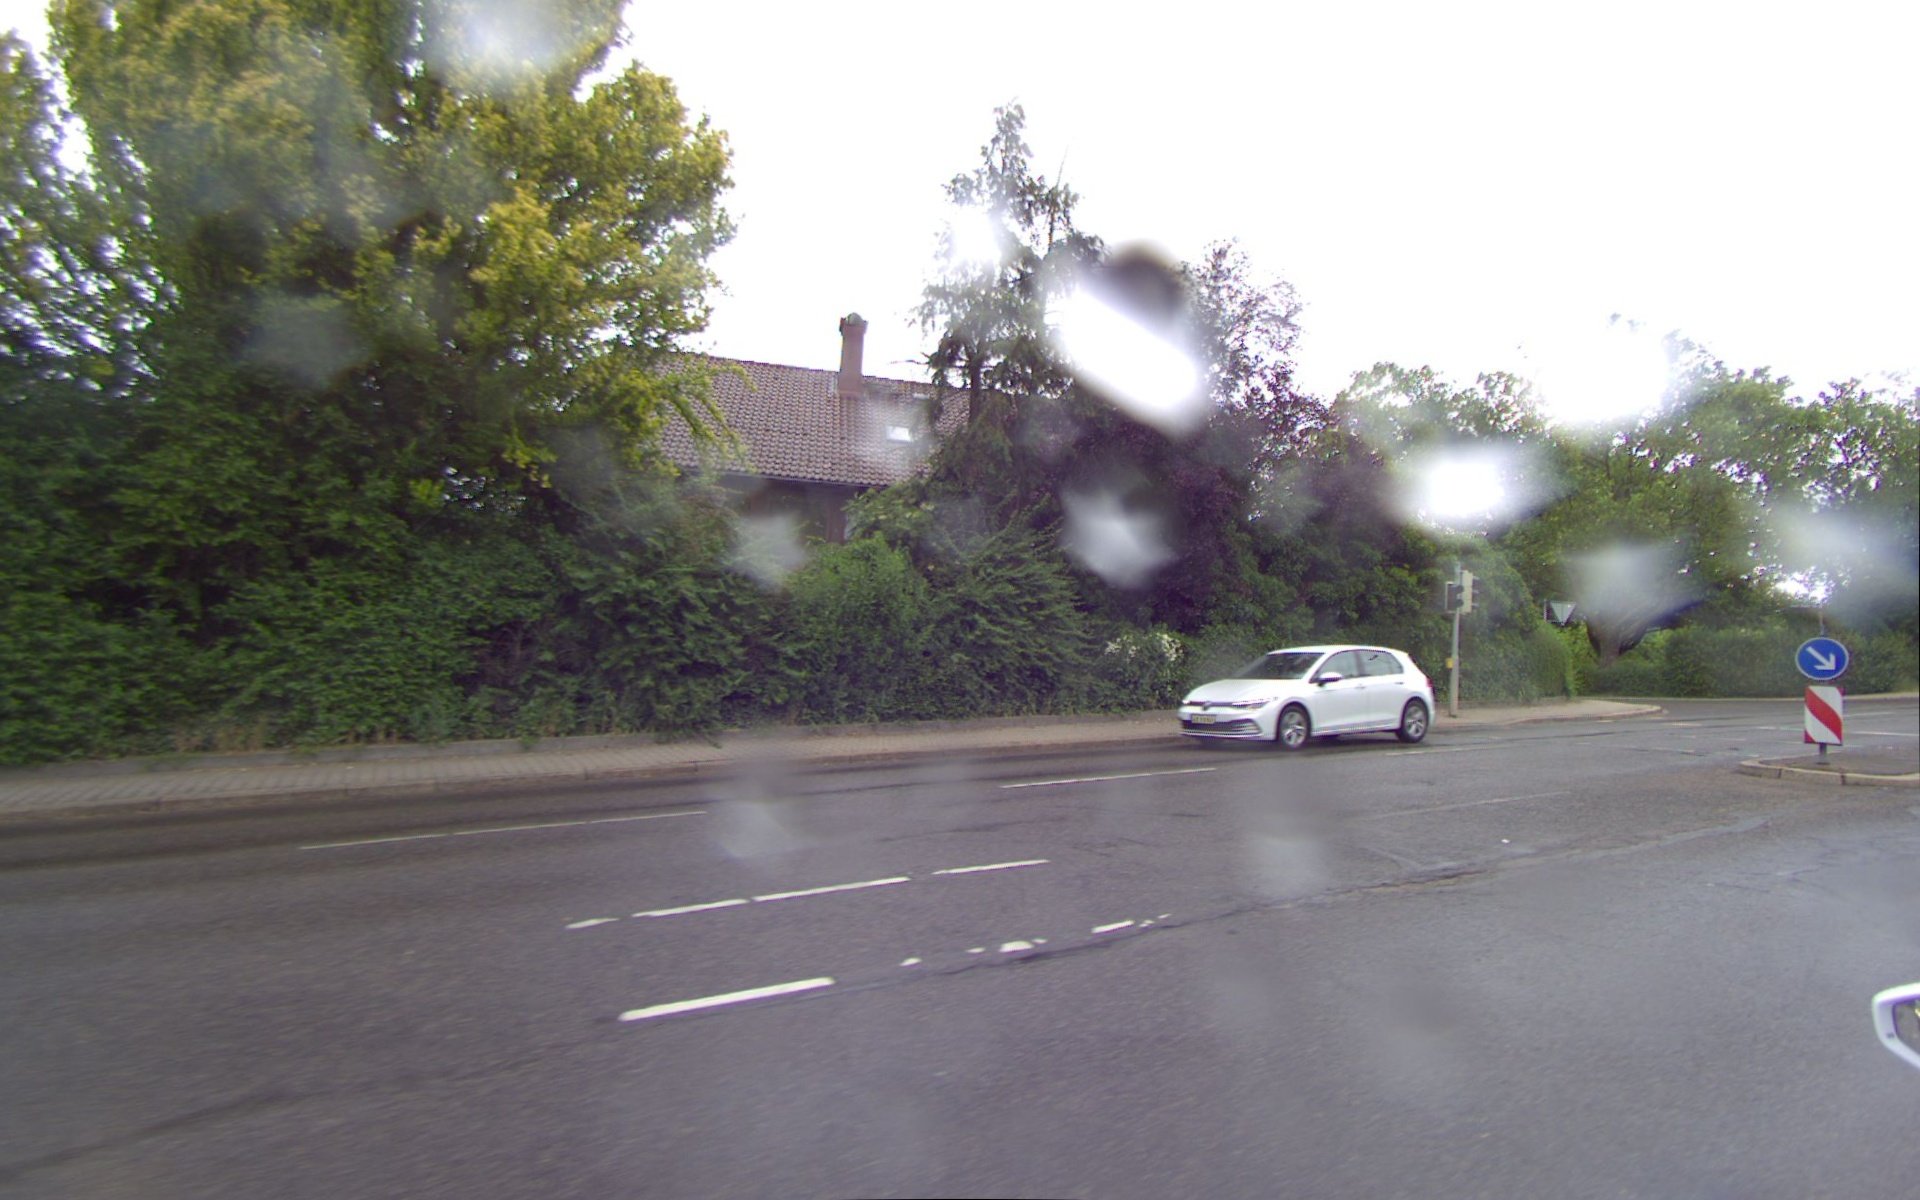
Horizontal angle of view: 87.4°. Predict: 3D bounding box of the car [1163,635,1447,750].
[{"bbox_3d":[5.184,1.306,15.011,4.107,1.504,1.720,1,-4,-30],"label":"car"}]
